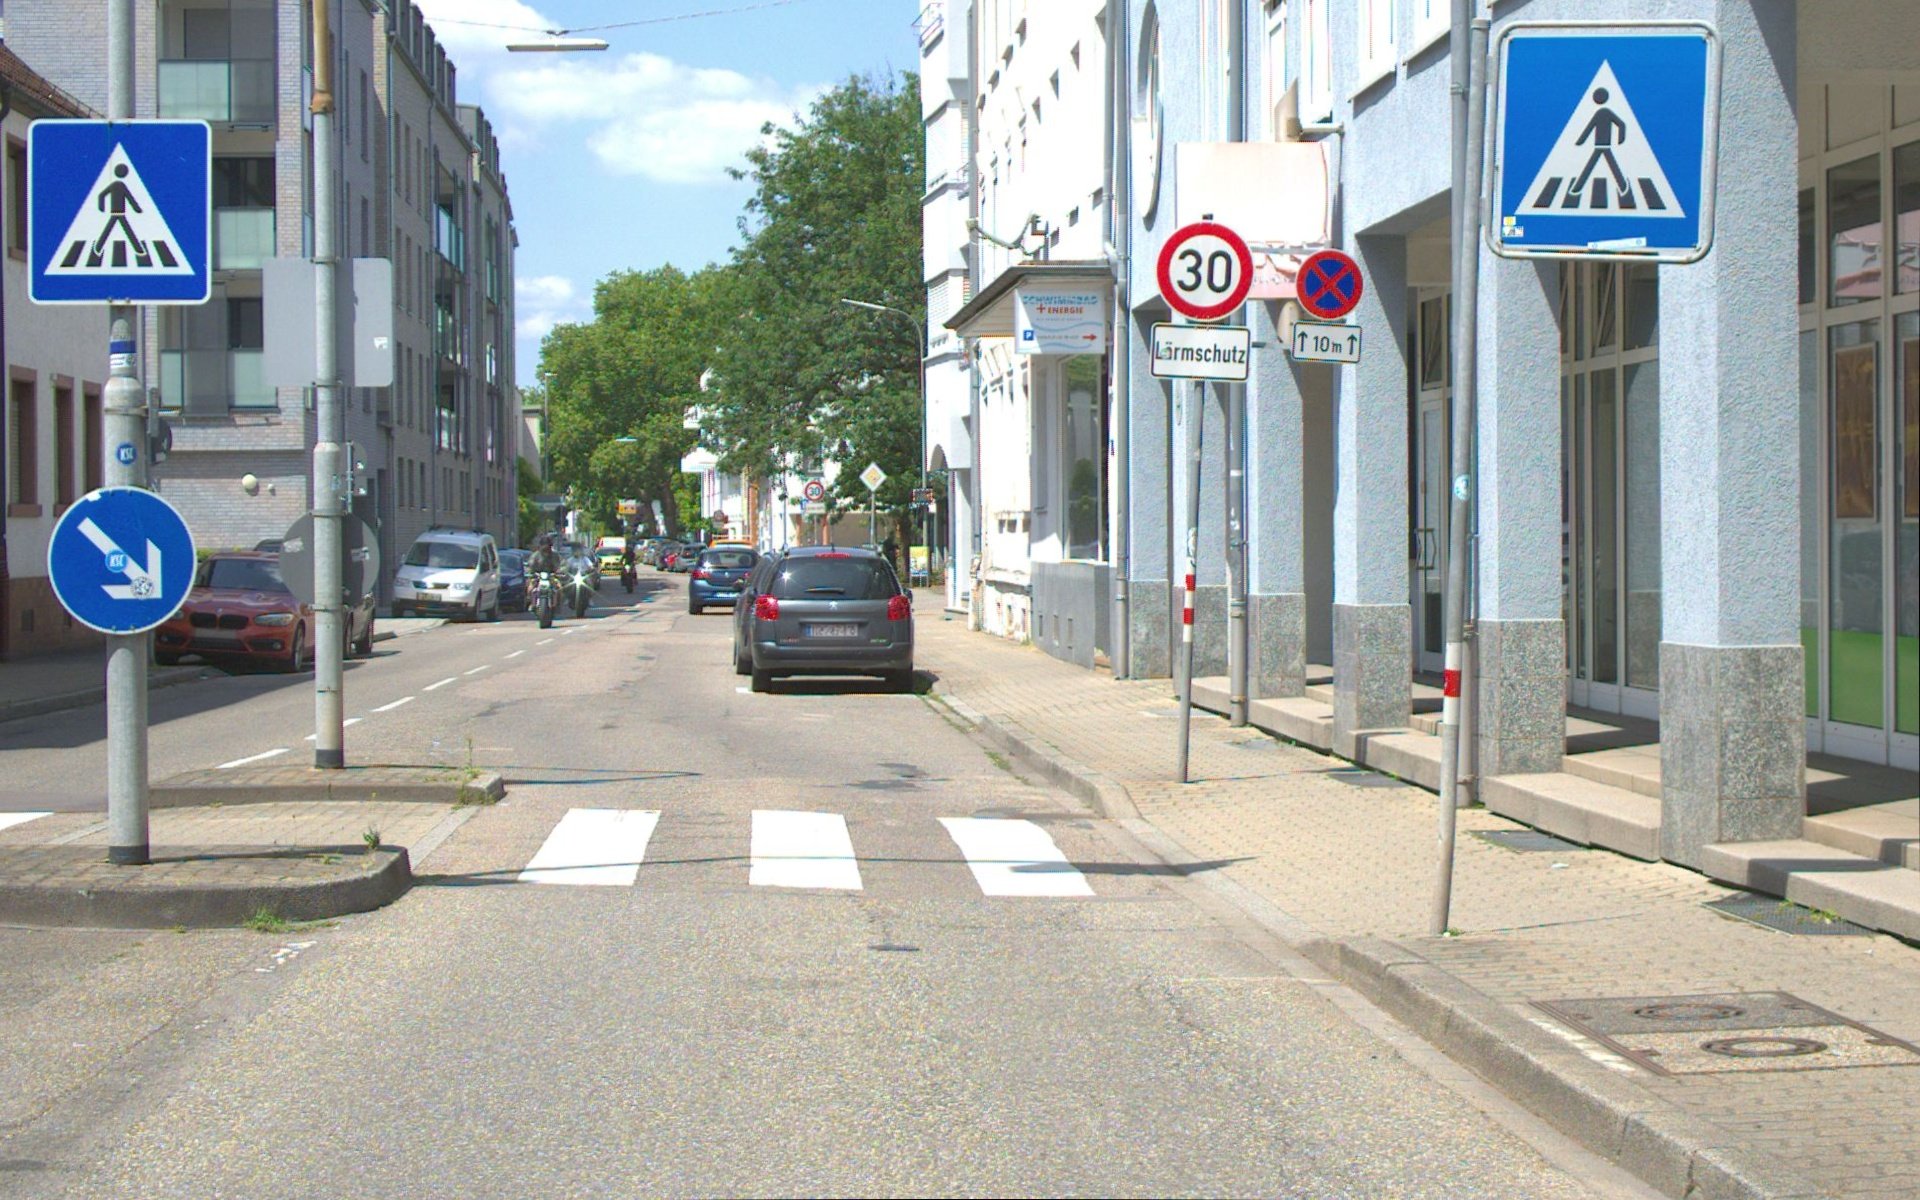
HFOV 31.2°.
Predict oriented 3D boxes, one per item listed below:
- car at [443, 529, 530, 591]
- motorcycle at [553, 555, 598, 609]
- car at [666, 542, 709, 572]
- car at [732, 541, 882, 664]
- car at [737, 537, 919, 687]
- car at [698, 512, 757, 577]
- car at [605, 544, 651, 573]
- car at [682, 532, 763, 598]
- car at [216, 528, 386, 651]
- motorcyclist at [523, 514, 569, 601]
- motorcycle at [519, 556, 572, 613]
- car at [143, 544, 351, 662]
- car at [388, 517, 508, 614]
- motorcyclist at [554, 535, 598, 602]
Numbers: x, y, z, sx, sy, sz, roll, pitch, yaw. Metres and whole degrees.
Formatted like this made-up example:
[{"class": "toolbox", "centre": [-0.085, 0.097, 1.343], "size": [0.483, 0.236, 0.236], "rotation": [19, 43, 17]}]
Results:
[{"class": "car", "centre": [-11.551, -0.987, 84.118], "size": [1.723, 1.451, 4.006], "rotation": [1, 1, -3]}, {"class": "motorcycle", "centre": [-8.486, -0.408, 75.943], "size": [0.896, 1.172, 2.208], "rotation": [0, 1, -3]}, {"class": "car", "centre": [-14.633, -2.311, 184.341], "size": [1.993, 1.612, 4.001], "rotation": [0, 1, -9]}, {"class": "car", "centre": [-1.922, -0.012, 42.167], "size": [1.729, 1.415, 4.546], "rotation": [0, 1, -4]}, {"class": "car", "centre": [-1.453, 0.091, 36.584], "size": [1.709, 1.503, 4.001], "rotation": [0, 1, -5]}, {"class": "car", "centre": [-7.392, -1.788, 109.674], "size": [1.839, 2.007, 4.001], "rotation": [0, 1, -3]}, {"class": "car", "centre": [-16.836, -2.109, 174.607], "size": [1.993, 1.376, 4.393], "rotation": [2, 1, -2]}, {"class": "car", "centre": [-5.231, -0.790, 76.005], "size": [1.715, 1.397, 4.001], "rotation": [0, 1, -3]}, {"class": "car", "centre": [-9.257, -0.169, 48.556], "size": [1.794, 1.641, 3.945], "rotation": [1, 1, -3]}, {"class": "motorcyclist", "centre": [-7.850, -0.805, 65.237], "size": [0.713, 1.629, 1.069], "rotation": [-1, 1, 0]}, {"class": "motorcycle", "centre": [-7.857, -0.303, 65.240], "size": [0.713, 1.025, 2.239], "rotation": [-1, 1, 0]}, {"class": "car", "centre": [-8.973, 0.002, 43.578], "size": [1.834, 1.412, 4.290], "rotation": [0, 1, -1]}, {"class": "car", "centre": [-10.572, -0.737, 71.244], "size": [1.757, 1.885, 4.337], "rotation": [2, 1, 0]}, {"class": "motorcyclist", "centre": [-8.480, -0.697, 75.913], "size": [0.916, 1.475, 1.203], "rotation": [0, 1, -3]}]
